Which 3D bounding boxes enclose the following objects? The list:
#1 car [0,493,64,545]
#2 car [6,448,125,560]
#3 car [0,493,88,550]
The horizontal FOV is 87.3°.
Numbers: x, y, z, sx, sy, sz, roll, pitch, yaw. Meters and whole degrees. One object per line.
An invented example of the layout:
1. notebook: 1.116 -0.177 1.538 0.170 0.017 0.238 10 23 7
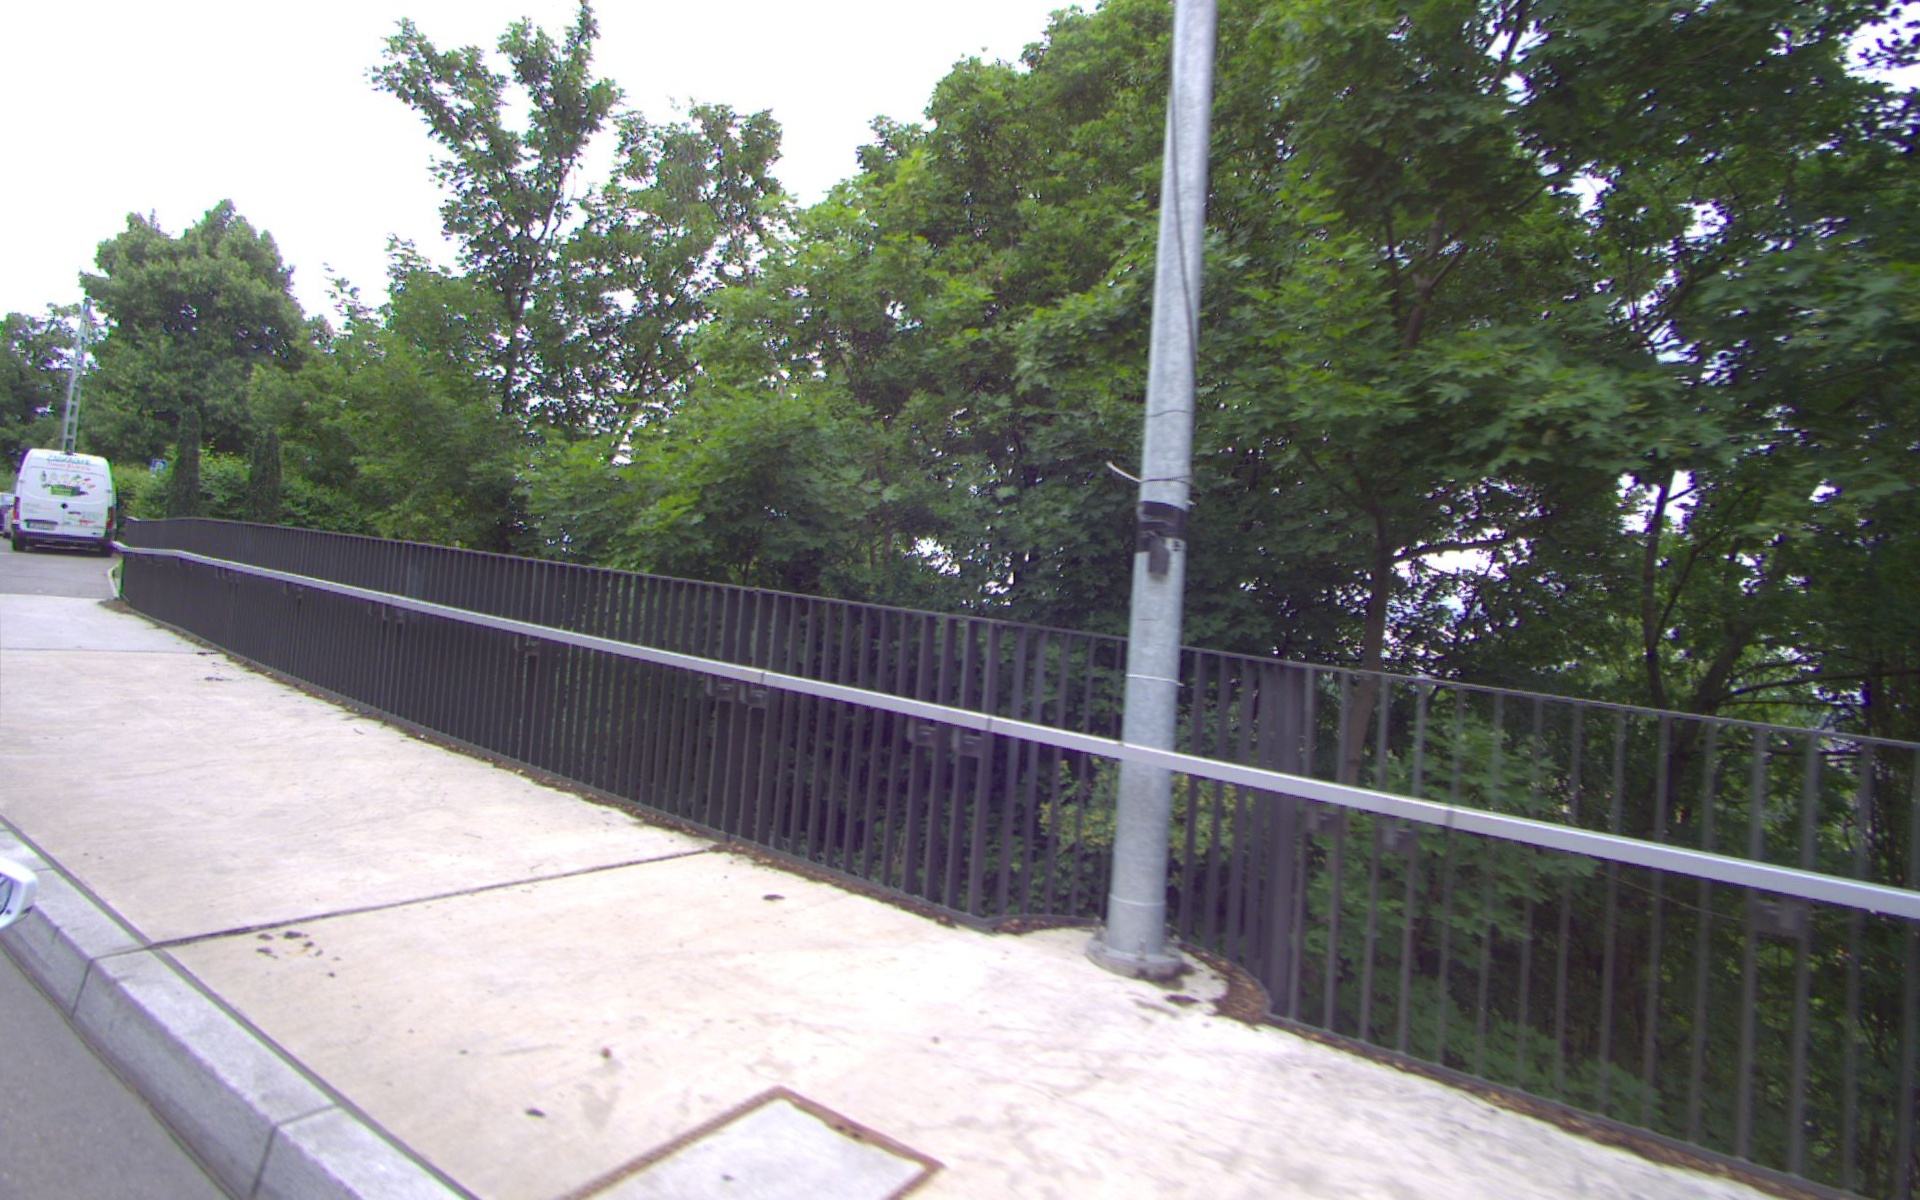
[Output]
1. car: -32.457 -2.851 34.588 4.596 1.482 1.699 6 -1 40
2. car: -24.435 -2.569 27.665 2.074 2.555 5.780 5 0 -40
3. car: -28.674 -2.466 31.428 3.784 1.482 1.697 6 -1 43
